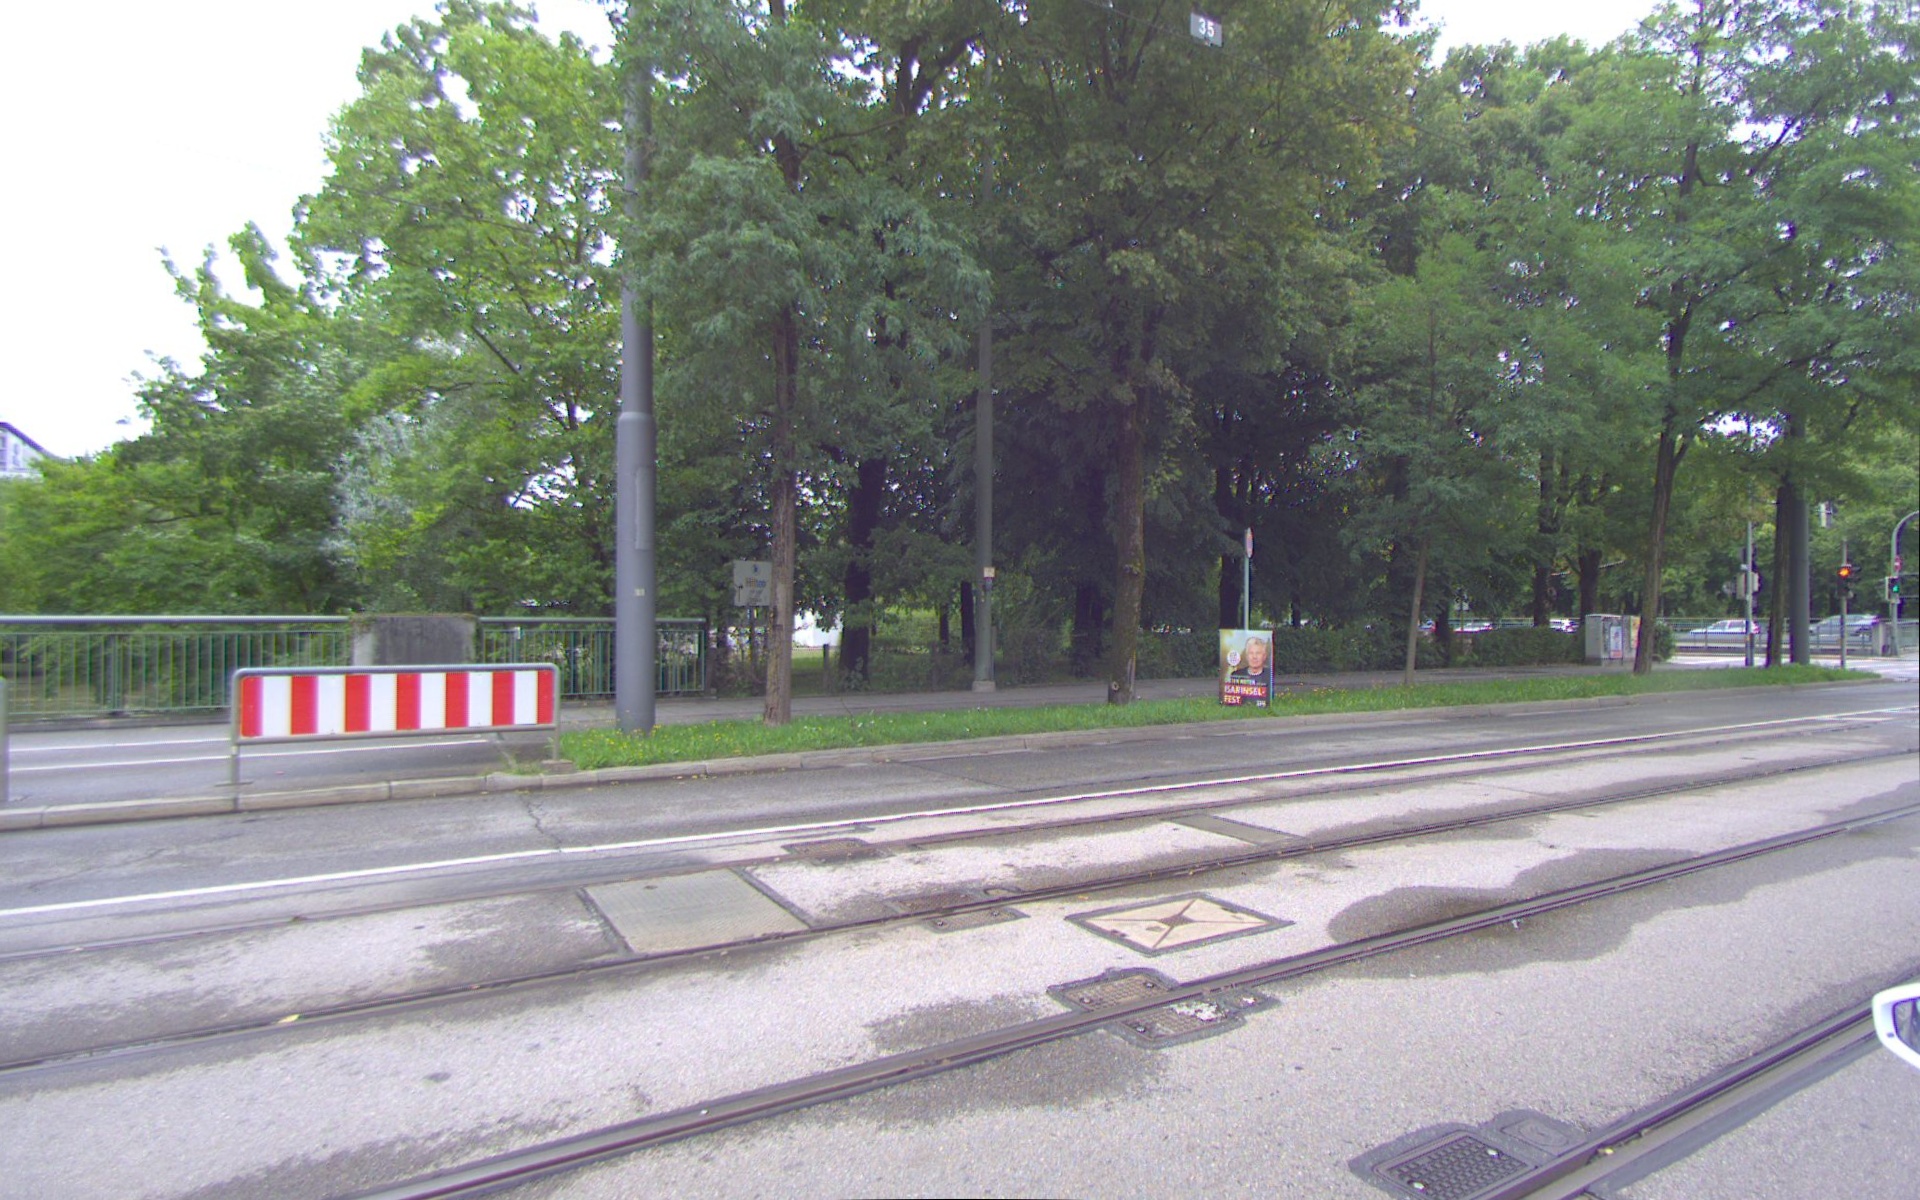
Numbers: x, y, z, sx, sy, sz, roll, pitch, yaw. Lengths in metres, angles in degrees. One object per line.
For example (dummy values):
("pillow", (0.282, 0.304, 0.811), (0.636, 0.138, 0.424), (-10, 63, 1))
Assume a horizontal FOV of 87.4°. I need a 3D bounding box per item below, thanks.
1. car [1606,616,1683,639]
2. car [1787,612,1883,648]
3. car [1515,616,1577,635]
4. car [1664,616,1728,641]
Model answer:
("car", (46.008, 1.837, 67.583), (1.703, 1.423, 3.900), (1, 0, -34))
("car", (51.563, 1.744, 59.249), (1.476, 1.912, 3.994), (1, 1, -36))
("car", (42.554, 1.858, 73.000), (1.238, 1.201, 3.704), (1, 0, -34))
("car", (47.513, 1.810, 64.914), (1.238, 1.471, 3.090), (1, 1, -34))
